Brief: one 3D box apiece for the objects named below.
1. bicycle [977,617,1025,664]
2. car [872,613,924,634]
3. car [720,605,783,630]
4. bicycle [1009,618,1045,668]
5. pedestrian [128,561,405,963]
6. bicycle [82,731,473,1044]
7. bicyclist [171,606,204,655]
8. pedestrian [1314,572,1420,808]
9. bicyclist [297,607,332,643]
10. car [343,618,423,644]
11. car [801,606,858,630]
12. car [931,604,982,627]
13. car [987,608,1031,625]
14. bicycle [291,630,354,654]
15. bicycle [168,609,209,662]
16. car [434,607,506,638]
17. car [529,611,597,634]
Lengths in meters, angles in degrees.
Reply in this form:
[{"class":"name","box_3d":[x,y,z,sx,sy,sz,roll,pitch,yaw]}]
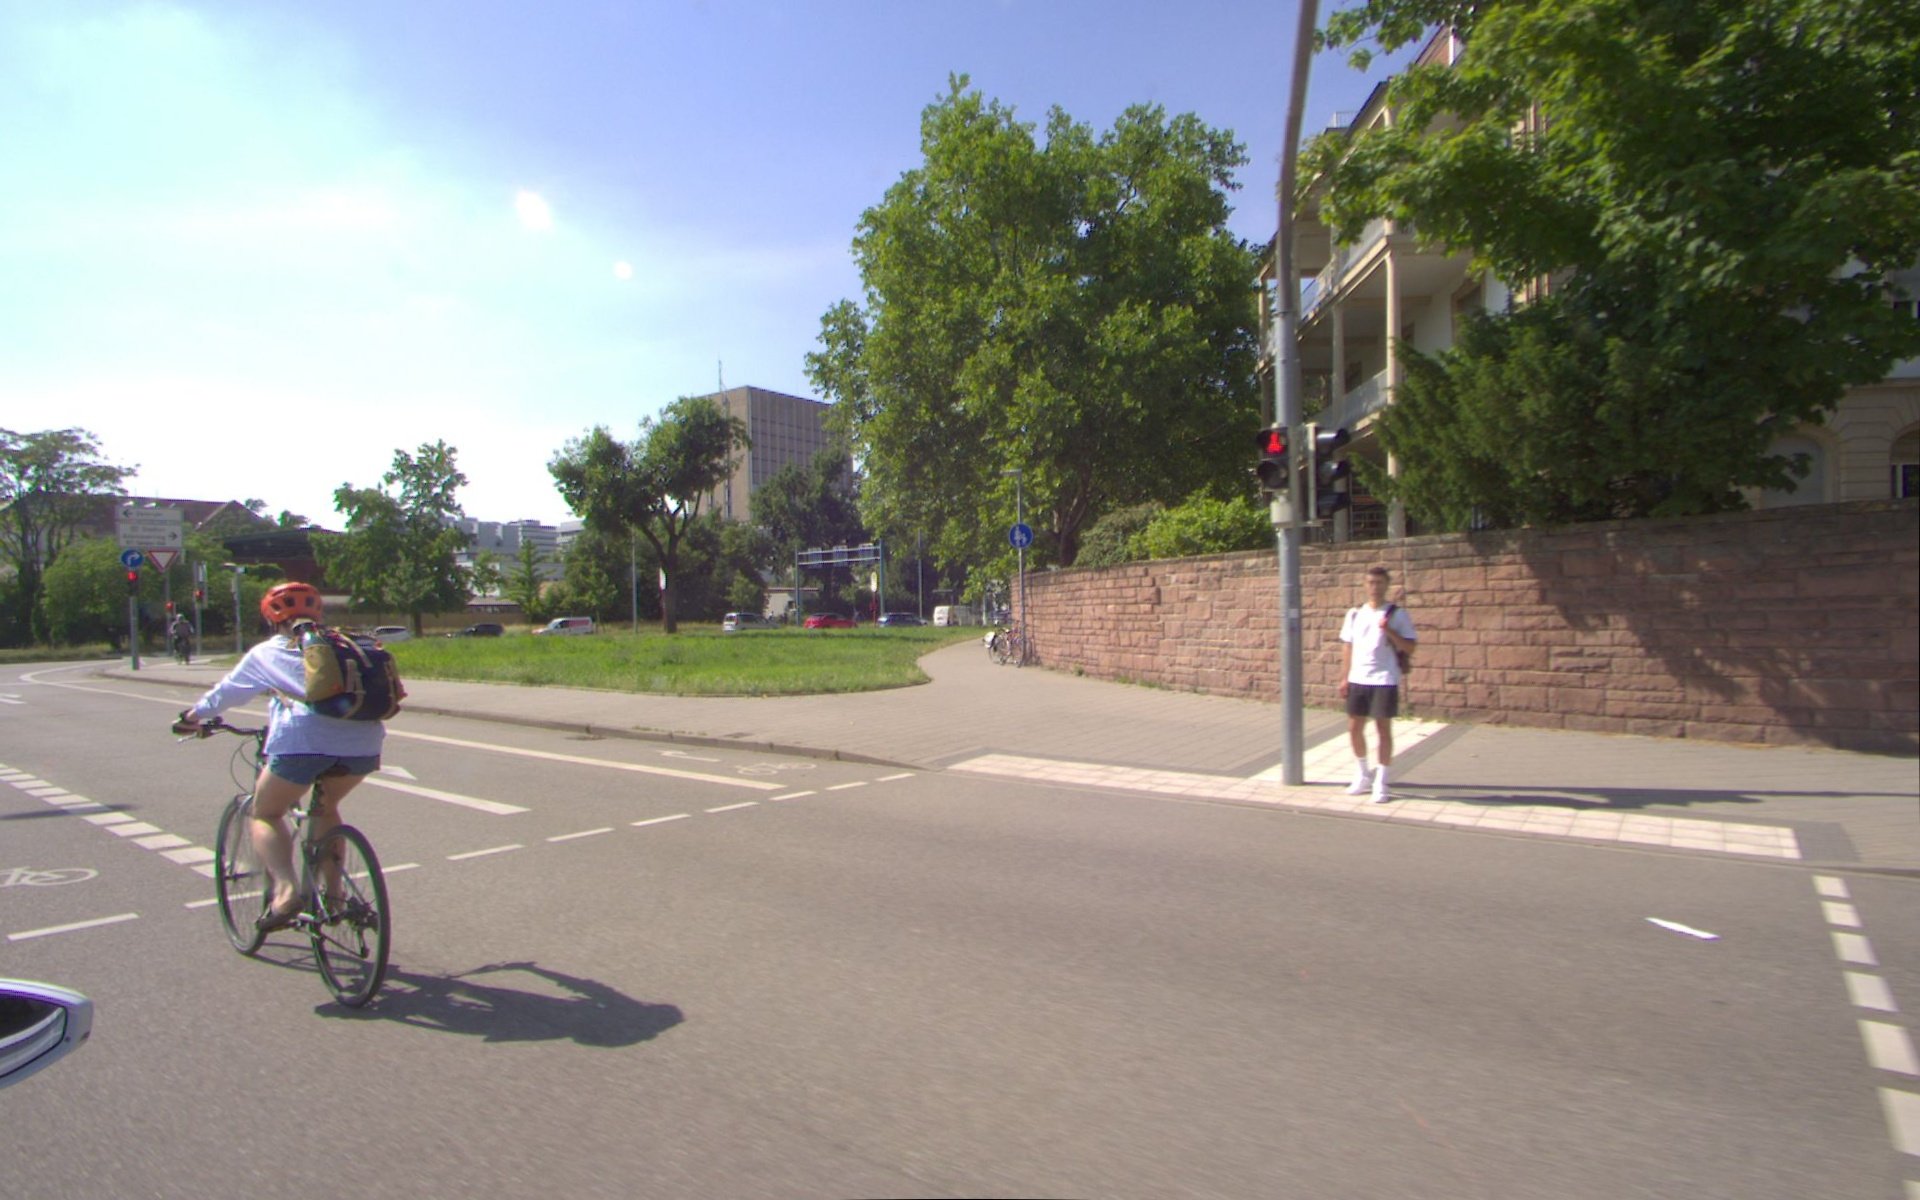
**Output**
[{"class":"bicycle","box_3d":[1.026,1.004,25.328,0.345,1.137,1.424,-2,1,-38]},{"class":"car","box_3d":[-4.763,1.764,77.251,1.733,1.493,3.966,-1,0,41]},{"class":"car","box_3d":[-13.841,1.167,66.628,1.731,1.528,3.971,-1,0,38]},{"class":"bicycle","box_3d":[1.577,1.010,23.782,0.343,1.137,1.432,-1,0,-17]},{"class":"pedestrian","box_3d":[-2.917,0.616,4.212,0.998,1.485,0.582,-1,-1,29]},{"class":"bicycle","box_3d":[-2.958,1.103,4.266,1.998,0.943,0.595,-1,-1,31]},{"class":"bicyclist","box_3d":[-26.987,1.072,35.000,0.907,1.677,0.675,-1,1,38]},{"class":"pedestrian","box_3d":[3.423,0.721,8.471,0.782,1.900,0.652,-1,2,19]},{"class":"bicyclist","box_3d":[-26.907,1.048,41.758,1.121,1.489,0.496,0,-2,-4]},{"class":"car","box_3d":[-37.204,1.984,64.621,1.975,1.483,3.972,-2,-1,37]},{"class":"car","box_3d":[-9.308,1.297,71.579,1.731,1.526,3.975,-1,-4,38]},{"class":"car","box_3d":[-0.268,1.265,82.341,1.733,1.781,4.395,-1,0,41]},{"class":"car","box_3d":[4.314,1.445,87.719,1.733,1.357,3.966,-1,0,41]},{"class":"bicycle","box_3d":[-26.630,1.758,41.828,2.127,0.928,0.674,-1,1,-5]},{"class":"bicycle","box_3d":[-26.961,1.224,34.974,1.788,1.789,0.675,-1,1,38]},{"class":"car","box_3d":[-33.834,1.519,69.224,1.976,2.040,3.968,-1,0,40]},{"class":"car","box_3d":[-29.251,1.619,73.936,1.886,1.590,4.293,-1,0,37]}]
